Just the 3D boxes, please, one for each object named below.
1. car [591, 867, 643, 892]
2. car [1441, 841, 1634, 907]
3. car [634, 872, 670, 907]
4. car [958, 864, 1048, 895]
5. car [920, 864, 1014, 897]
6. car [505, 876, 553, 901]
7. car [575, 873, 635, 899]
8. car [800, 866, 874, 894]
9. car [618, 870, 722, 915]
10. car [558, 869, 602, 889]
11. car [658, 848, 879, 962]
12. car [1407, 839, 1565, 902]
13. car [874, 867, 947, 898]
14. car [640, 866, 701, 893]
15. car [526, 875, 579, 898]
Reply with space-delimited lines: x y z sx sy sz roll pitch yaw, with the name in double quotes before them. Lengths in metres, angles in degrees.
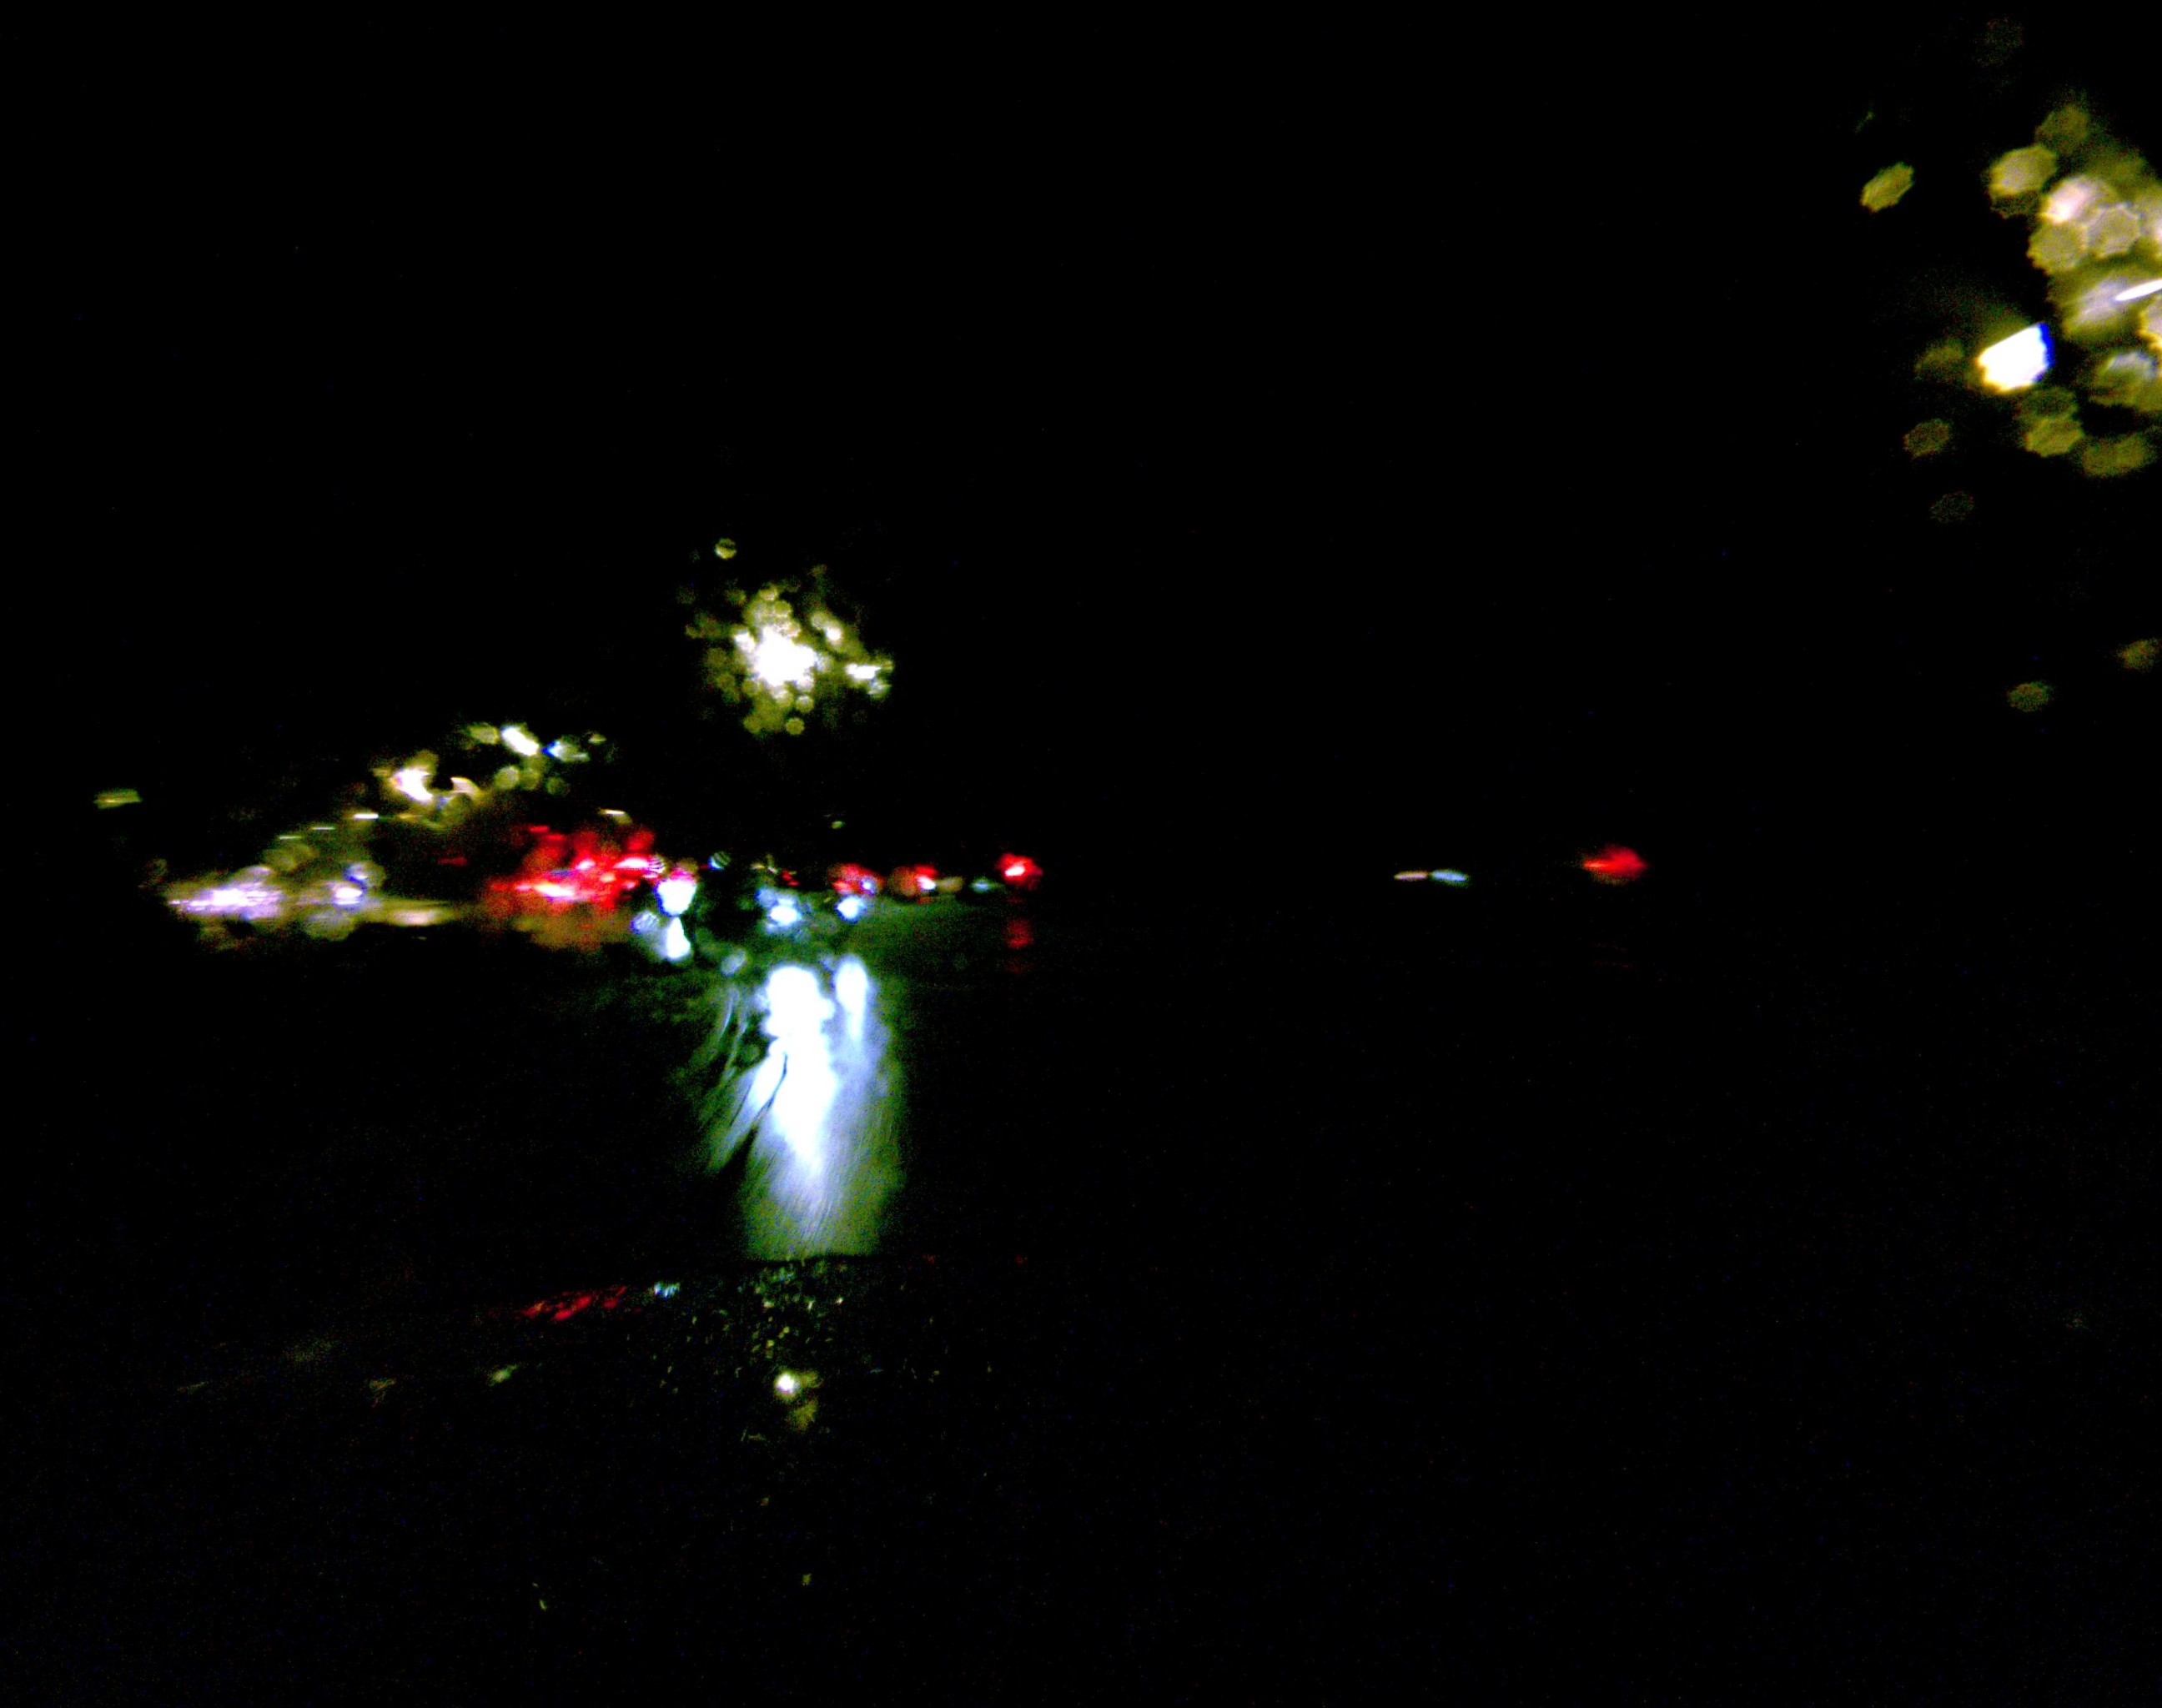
"car" -33.026 1.782 54.070 3.965 1.656 1.808 0 1 37
"car" 12.326 0.551 20.651 4.232 1.599 1.791 -2 0 39
"car" -37.038 2.998 65.777 2.259 2.694 5.597 -1 1 -25
"car" -3.329 1.095 32.207 3.605 1.196 1.652 -2 0 36
"car" -5.673 1.341 37.739 4.419 1.521 1.893 -2 0 33
"car" -41.536 2.583 57.155 3.891 1.715 1.769 -2 0 37
"car" -30.816 2.076 49.186 4.294 1.568 1.822 -2 -1 36
"car" -14.460 1.508 44.999 4.520 1.529 1.862 0 -2 37
"car" -16.640 1.535 30.707 4.125 1.639 1.835 -2 0 32
"car" -39.487 1.961 59.868 4.046 1.478 1.721 0 1 39
"car" -6.276 0.944 15.093 4.357 1.914 2.008 -2 0 36
"car" 12.896 0.535 24.294 4.194 1.881 1.771 -2 0 37
"car" -9.245 1.545 41.071 4.134 1.593 1.501 -2 0 38
"car" -27.251 1.679 50.363 4.474 1.656 1.808 0 1 37
"car" -36.943 2.283 53.076 4.400 1.475 1.786 -2 0 38
